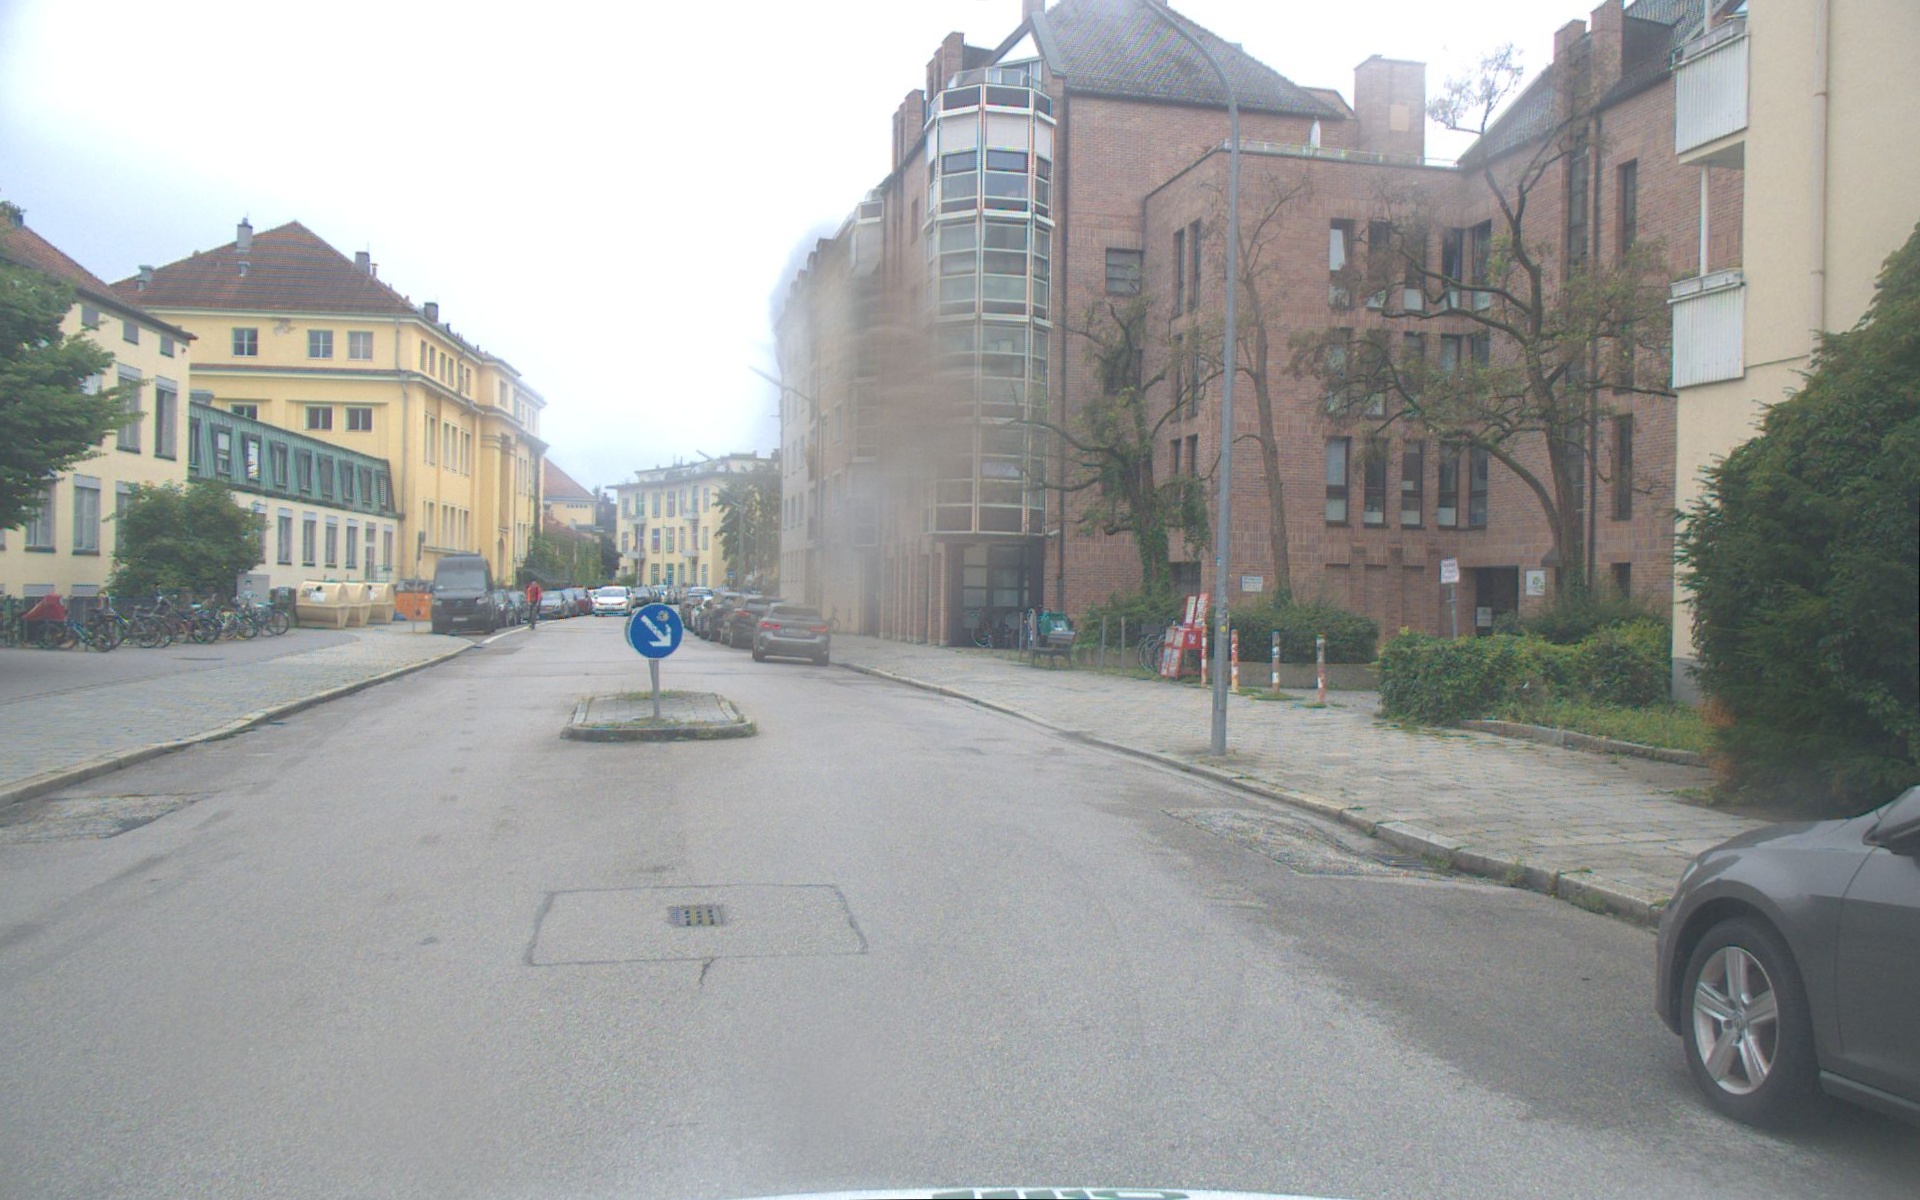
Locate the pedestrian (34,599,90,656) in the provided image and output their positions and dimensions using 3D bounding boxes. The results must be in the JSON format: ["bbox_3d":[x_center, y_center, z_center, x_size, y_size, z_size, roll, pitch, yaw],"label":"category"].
[{"bbox_3d":[-19.743,0.603,36.378,0.704,1.183,1.039,3,1,-7],"label":"pedestrian"}]

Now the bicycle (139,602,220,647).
[{"bbox_3d":[-19.707,0.617,41.753,1.754,1.051,0.507,3,1,-2],"label":"bicycle"}]

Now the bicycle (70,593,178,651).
[{"bbox_3d":[-19.519,0.506,38.641,2.062,1.249,0.787,3,1,-2],"label":"bicycle"}]

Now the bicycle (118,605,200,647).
[{"bbox_3d":[-19.457,0.625,40.188,1.641,0.932,0.595,3,1,-2],"label":"bicycle"}]

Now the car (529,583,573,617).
[{"bbox_3d":[-20.888,-0.009,84.549,1.739,1.577,3.771,3,1,-9],"label":"car"}]

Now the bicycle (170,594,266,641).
[{"bbox_3d":[-19.980,0.470,44.535,2.263,1.154,0.581,3,1,-2],"label":"bicycle"}]

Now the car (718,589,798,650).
[{"bbox_3d":[-6.242,0.558,50.736,1.800,1.629,4.249,3,1,-15],"label":"car"}]

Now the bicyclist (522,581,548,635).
[{"bbox_3d":[-16.368,0.309,63.710,0.752,2.048,0.767,-2,1,-6],"label":"bicyclist"}]

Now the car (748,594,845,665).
[{"bbox_3d":[-4.039,0.672,40.300,1.891,1.538,4.379,3,0,-11],"label":"car"}]

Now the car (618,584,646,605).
[{"bbox_3d":[-26.952,-0.459,136.056,1.956,1.575,3.993,3,1,-9],"label":"car"}]

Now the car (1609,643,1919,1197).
[{"bbox_3d":[3.493,0.885,3.915,1.723,1.421,4.033,3,-1,-11],"label":"car"}]

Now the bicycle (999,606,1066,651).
[{"bbox_3d":[2.070,0.806,47.046,1.812,1.167,0.487,3,1,-6],"label":"bicycle"}]

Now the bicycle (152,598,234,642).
[{"bbox_3d":[-20.012,0.525,43.147,1.829,1.047,0.539,3,1,-2],"label":"bicycle"}]

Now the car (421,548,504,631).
[{"bbox_3d":[-17.487,-0.333,58.392,2.380,2.762,5.933,0,0,-13],"label":"car"}]

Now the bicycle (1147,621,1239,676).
[{"bbox_3d":[4.554,0.954,32.341,1.670,0.982,0.545,3,1,-11],"label":"bicycle"}]

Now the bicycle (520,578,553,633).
[{"bbox_3d":[-16.334,0.196,63.840,0.733,2.048,2.844,-1,1,-6],"label":"bicycle"}]

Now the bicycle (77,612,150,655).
[{"bbox_3d":[-18.814,0.738,36.775,1.345,0.877,0.439,3,1,-5],"label":"bicycle"}]

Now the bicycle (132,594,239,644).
[{"bbox_3d":[-19.849,0.482,42.424,2.502,1.227,0.424,1,1,-2],"label":"bicycle"}]

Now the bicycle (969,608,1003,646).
[{"bbox_3d":[0.765,0.773,48.488,0.478,1.078,1.988,3,-1,-14],"label":"bicycle"}]

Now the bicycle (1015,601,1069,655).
[{"bbox_3d":[2.025,0.689,41.264,0.525,1.270,2.402,2,-1,-17],"label":"bicycle"}]

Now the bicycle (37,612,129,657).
[{"bbox_3d":[-18.998,0.742,35.846,1.685,0.877,0.439,3,1,-5],"label":"bicycle"}]

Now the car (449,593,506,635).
[{"bbox_3d":[-19.197,0.528,65.978,1.668,1.478,3.733,3,1,-9],"label":"car"}]

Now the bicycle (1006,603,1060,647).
[{"bbox_3d":[2.097,0.712,47.502,1.448,1.167,0.382,3,0,-6],"label":"bicycle"}]

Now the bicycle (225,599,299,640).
[{"bbox_3d":[-20.612,0.563,48.852,1.866,1.111,0.677,3,1,-2],"label":"bicycle"}]

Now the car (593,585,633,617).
[{"bbox_3d":[-19.254,0.087,91.872,1.989,1.650,4.494,-1,-1,-10],"label":"car"}]

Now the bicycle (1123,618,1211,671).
[{"bbox_3d":[4.226,0.908,33.804,1.670,0.982,0.545,3,1,-11],"label":"bicycle"}]

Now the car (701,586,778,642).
[{"bbox_3d":[-7.458,0.437,55.659,1.932,1.629,4.653,3,1,-15],"label":"car"}]

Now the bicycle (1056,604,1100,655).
[{"bbox_3d":[2.835,0.711,39.673,0.412,1.193,1.357,3,1,33],"label":"bicycle"}]

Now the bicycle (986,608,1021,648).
[{"bbox_3d":[1.270,0.818,48.612,0.478,1.078,1.989,3,0,-14],"label":"bicycle"}]

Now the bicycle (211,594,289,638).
[{"bbox_3d":[-20.266,0.457,47.226,1.917,1.151,0.573,3,1,-2],"label":"bicycle"}]

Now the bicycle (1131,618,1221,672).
[{"bbox_3d":[4.339,0.900,33.190,1.670,0.982,0.545,3,1,-11],"label":"bicycle"}]
